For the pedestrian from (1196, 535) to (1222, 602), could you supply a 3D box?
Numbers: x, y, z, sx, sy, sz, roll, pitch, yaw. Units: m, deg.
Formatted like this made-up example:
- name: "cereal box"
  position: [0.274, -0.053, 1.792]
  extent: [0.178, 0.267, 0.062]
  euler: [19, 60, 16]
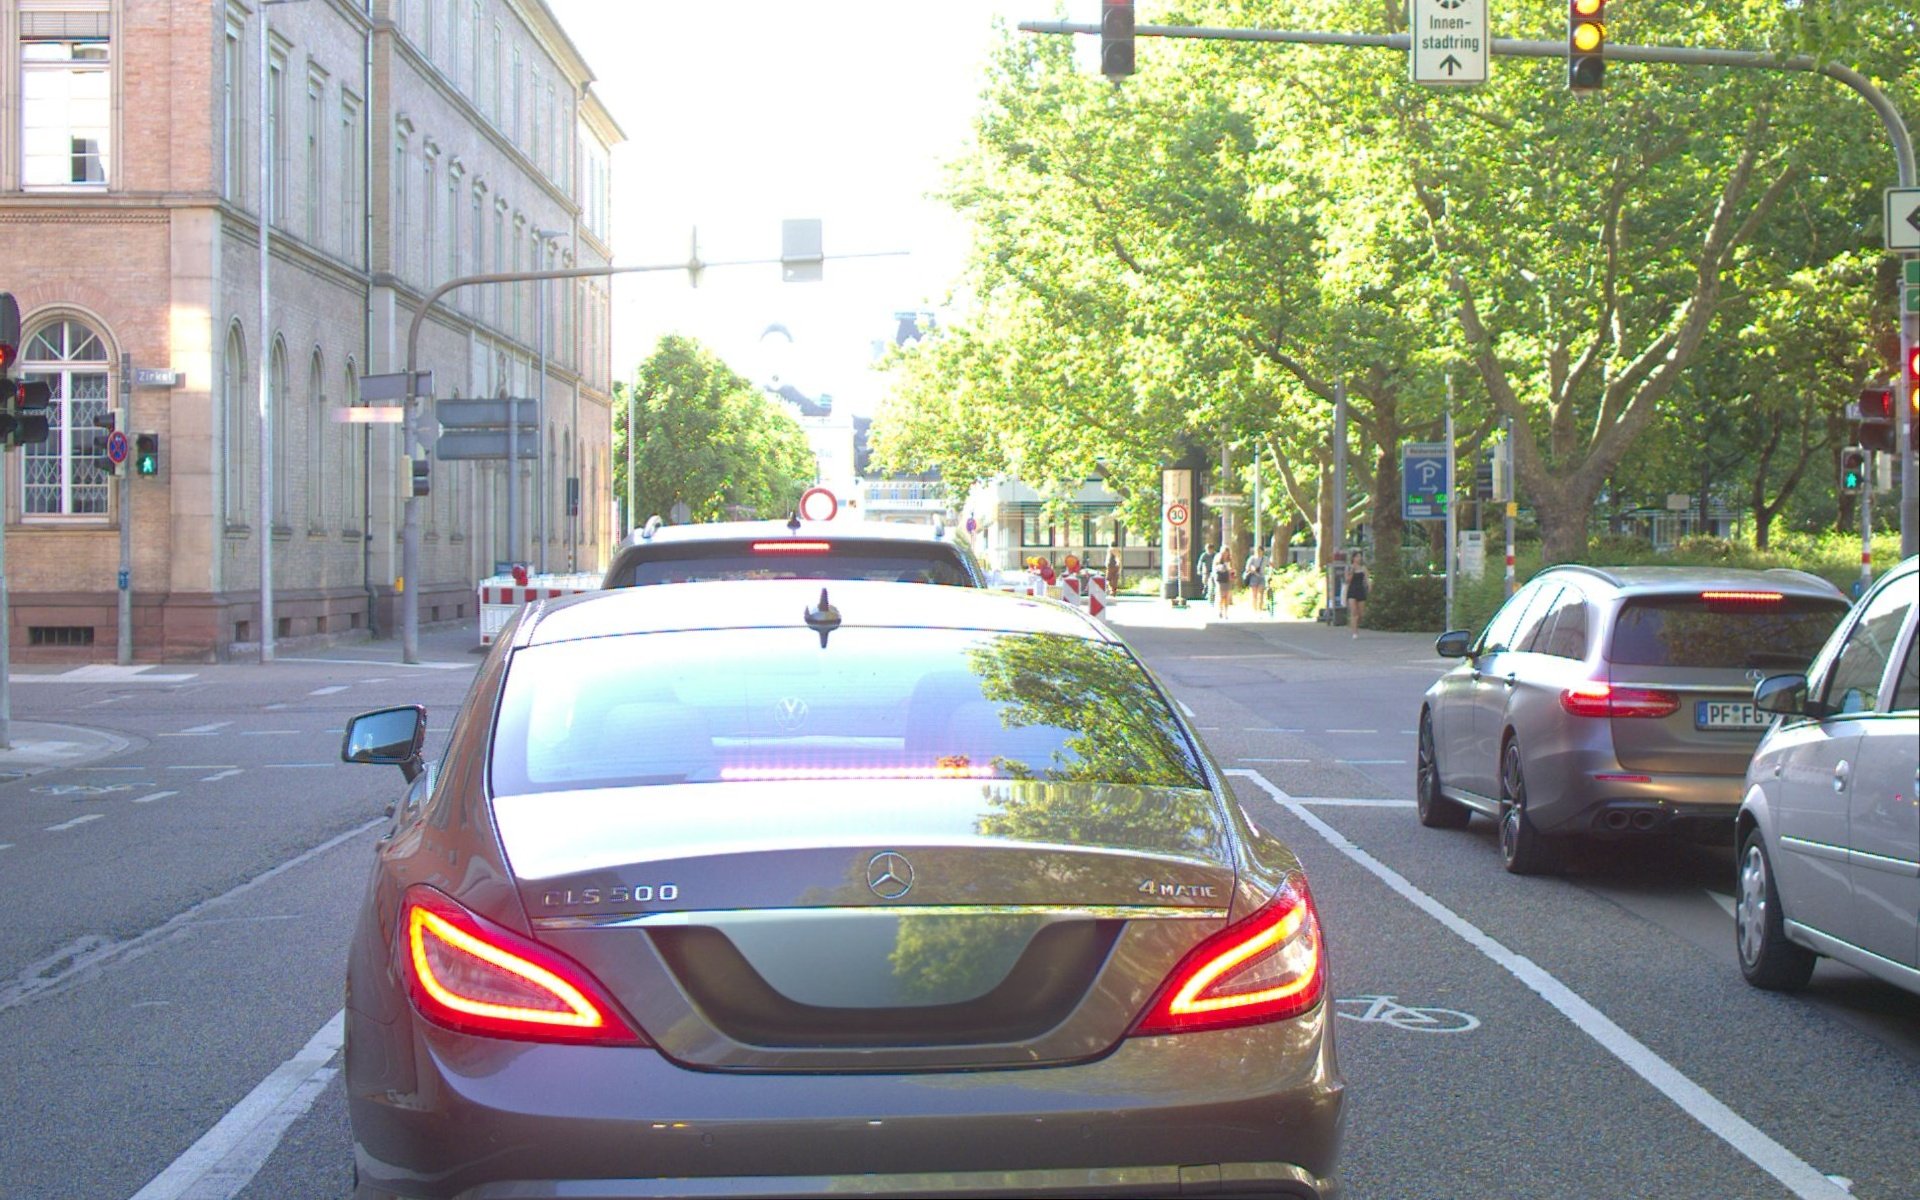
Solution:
- name: "pedestrian"
  position: [6.846, -0.868, 94.600]
  extent: [0.611, 1.815, 0.932]
  euler: [1, 1, -1]

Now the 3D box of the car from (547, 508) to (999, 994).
- name: "car"
  position: [-0.724, 0.484, 13.635]
  extent: [1.517, 1.641, 3.881]
  euler: [1, 1, -3]

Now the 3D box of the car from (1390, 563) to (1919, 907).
- name: "car"
  position: [3.474, 0.573, 17.502]
  extent: [1.913, 1.459, 4.669]
  euler: [1, 1, -1]

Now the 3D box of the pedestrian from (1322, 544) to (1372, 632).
- name: "pedestrian"
  position: [7.098, -0.219, 63.052]
  extent: [0.830, 1.601, 0.651]
  euler: [1, 1, -1]

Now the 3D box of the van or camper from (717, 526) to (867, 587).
- name: "van or camper"
  position: [-5.471, -1.415, 111.770]
  extent: [4.588, 1.935, 1.996]
  euler: [1, 1, 34]

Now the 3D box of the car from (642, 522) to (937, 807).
- name: "car"
  position: [-1.077, 0.363, 23.250]
  extent: [1.820, 1.756, 4.000]
  euler: [0, 1, -1]

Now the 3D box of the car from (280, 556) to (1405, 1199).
- name: "car"
  position: [-0.461, 0.647, 7.667]
  extent: [1.803, 1.451, 4.352]
  euler: [0, 1, -8]

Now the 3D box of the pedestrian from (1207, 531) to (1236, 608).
- name: "pedestrian"
  position: [6.208, -0.720, 81.580]
  extent: [0.603, 1.815, 0.651]
  euler: [0, 1, -1]

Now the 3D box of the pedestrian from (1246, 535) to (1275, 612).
- name: "pedestrian"
  position: [7.095, -0.636, 81.261]
  extent: [0.603, 1.815, 0.651]
  euler: [1, 1, -1]

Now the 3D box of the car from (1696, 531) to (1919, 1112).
- name: "car"
  position: [3.543, 0.616, 10.696]
  extent: [1.701, 1.597, 3.859]
  euler: [2, 1, 1]
